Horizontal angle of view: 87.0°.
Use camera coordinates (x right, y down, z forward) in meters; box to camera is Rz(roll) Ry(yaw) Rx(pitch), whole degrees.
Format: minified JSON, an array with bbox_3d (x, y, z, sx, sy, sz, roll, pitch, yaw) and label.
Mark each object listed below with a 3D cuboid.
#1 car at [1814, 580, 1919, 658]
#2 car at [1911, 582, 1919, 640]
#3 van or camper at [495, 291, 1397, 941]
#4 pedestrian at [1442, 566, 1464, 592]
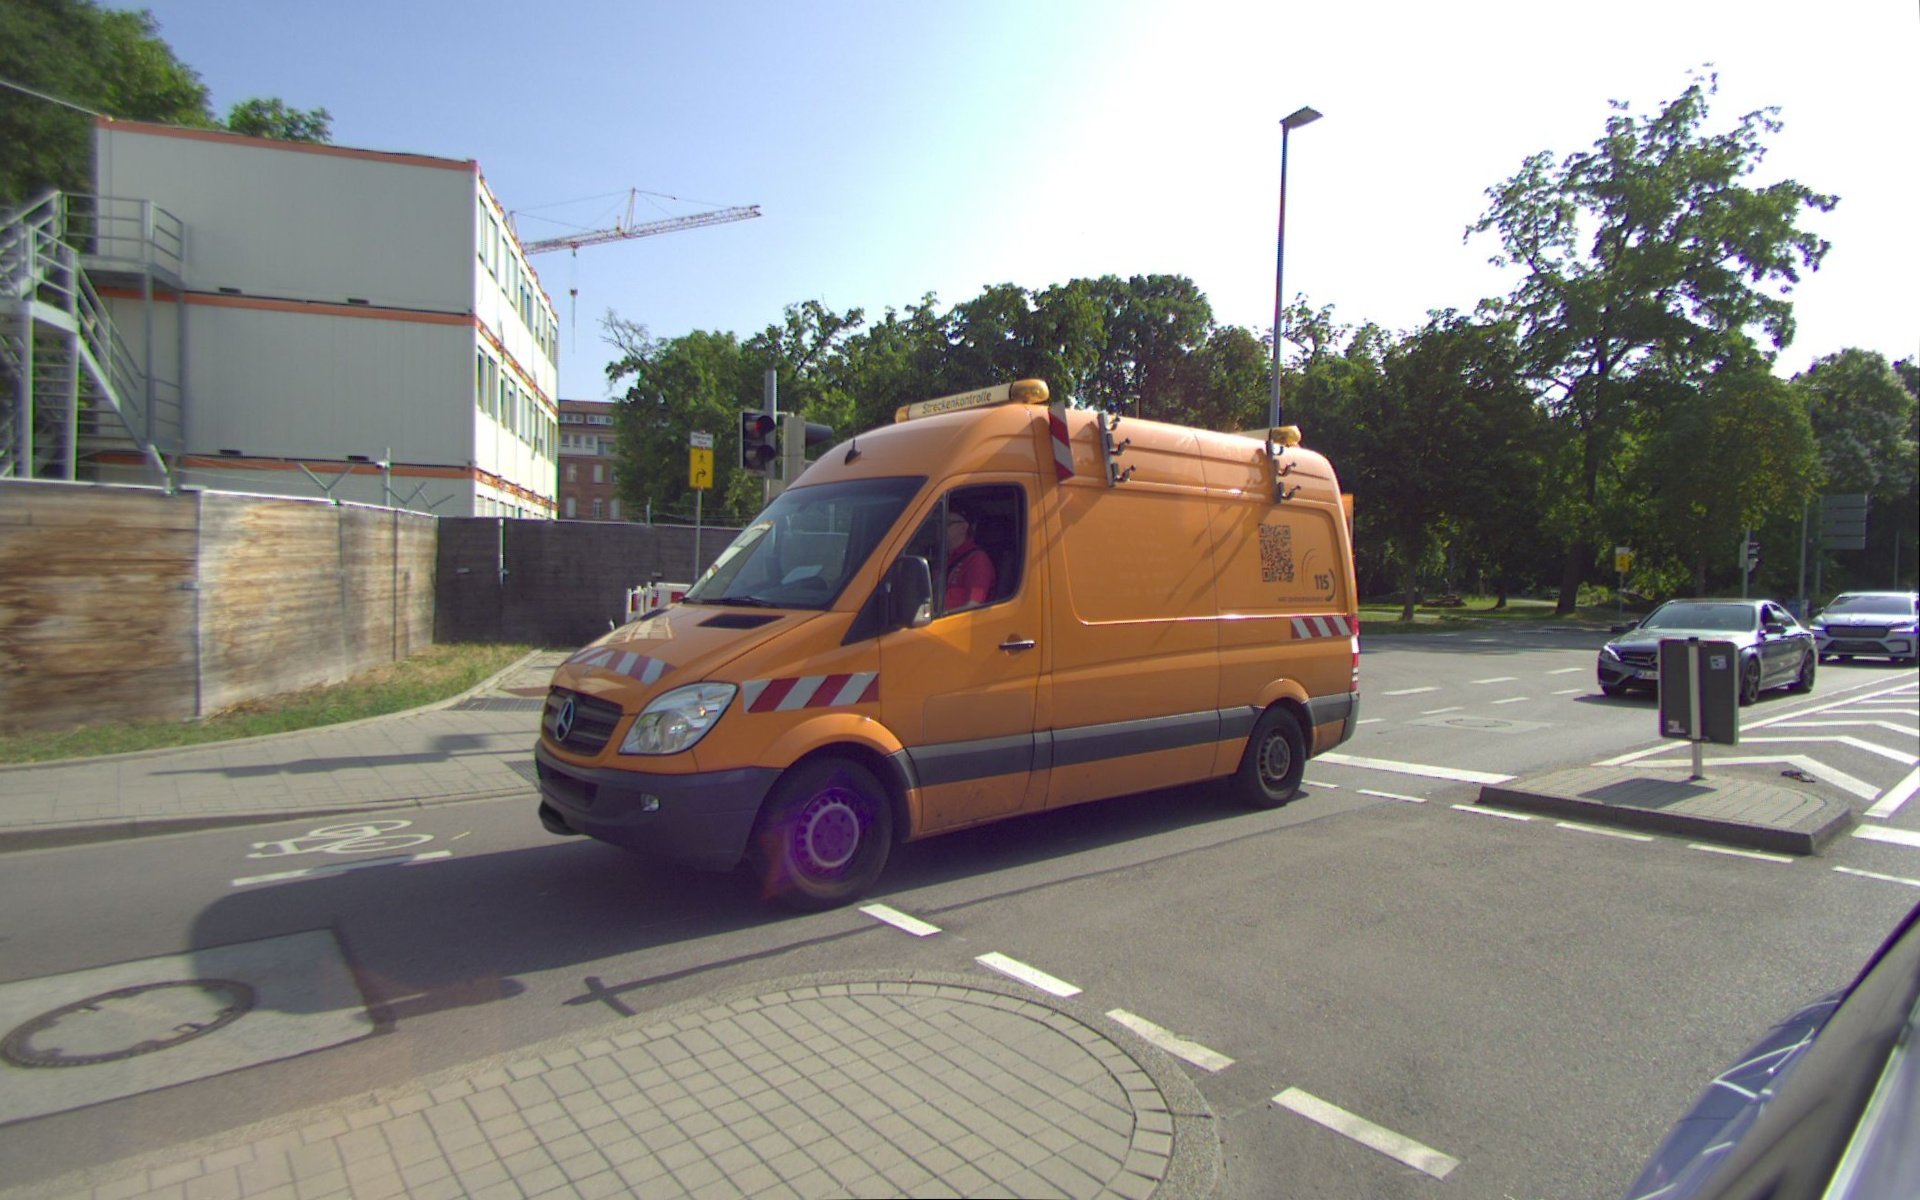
[{"bbox_3d":[20.669,0.364,22.540,4.176,1.590,1.896,-1,1,-41],"label":"car"},{"bbox_3d":[29.322,0.333,29.444,3.930,1.660,1.997,-1,2,-41],"label":"car"},{"bbox_3d":[0.417,0.045,6.579,5.953,2.503,1.990,0,0,-40],"label":"van or camper"},{"bbox_3d":[35.735,-1.547,73.369,1.048,1.853,0.987,1,2,-11],"label":"pedestrian"}]
